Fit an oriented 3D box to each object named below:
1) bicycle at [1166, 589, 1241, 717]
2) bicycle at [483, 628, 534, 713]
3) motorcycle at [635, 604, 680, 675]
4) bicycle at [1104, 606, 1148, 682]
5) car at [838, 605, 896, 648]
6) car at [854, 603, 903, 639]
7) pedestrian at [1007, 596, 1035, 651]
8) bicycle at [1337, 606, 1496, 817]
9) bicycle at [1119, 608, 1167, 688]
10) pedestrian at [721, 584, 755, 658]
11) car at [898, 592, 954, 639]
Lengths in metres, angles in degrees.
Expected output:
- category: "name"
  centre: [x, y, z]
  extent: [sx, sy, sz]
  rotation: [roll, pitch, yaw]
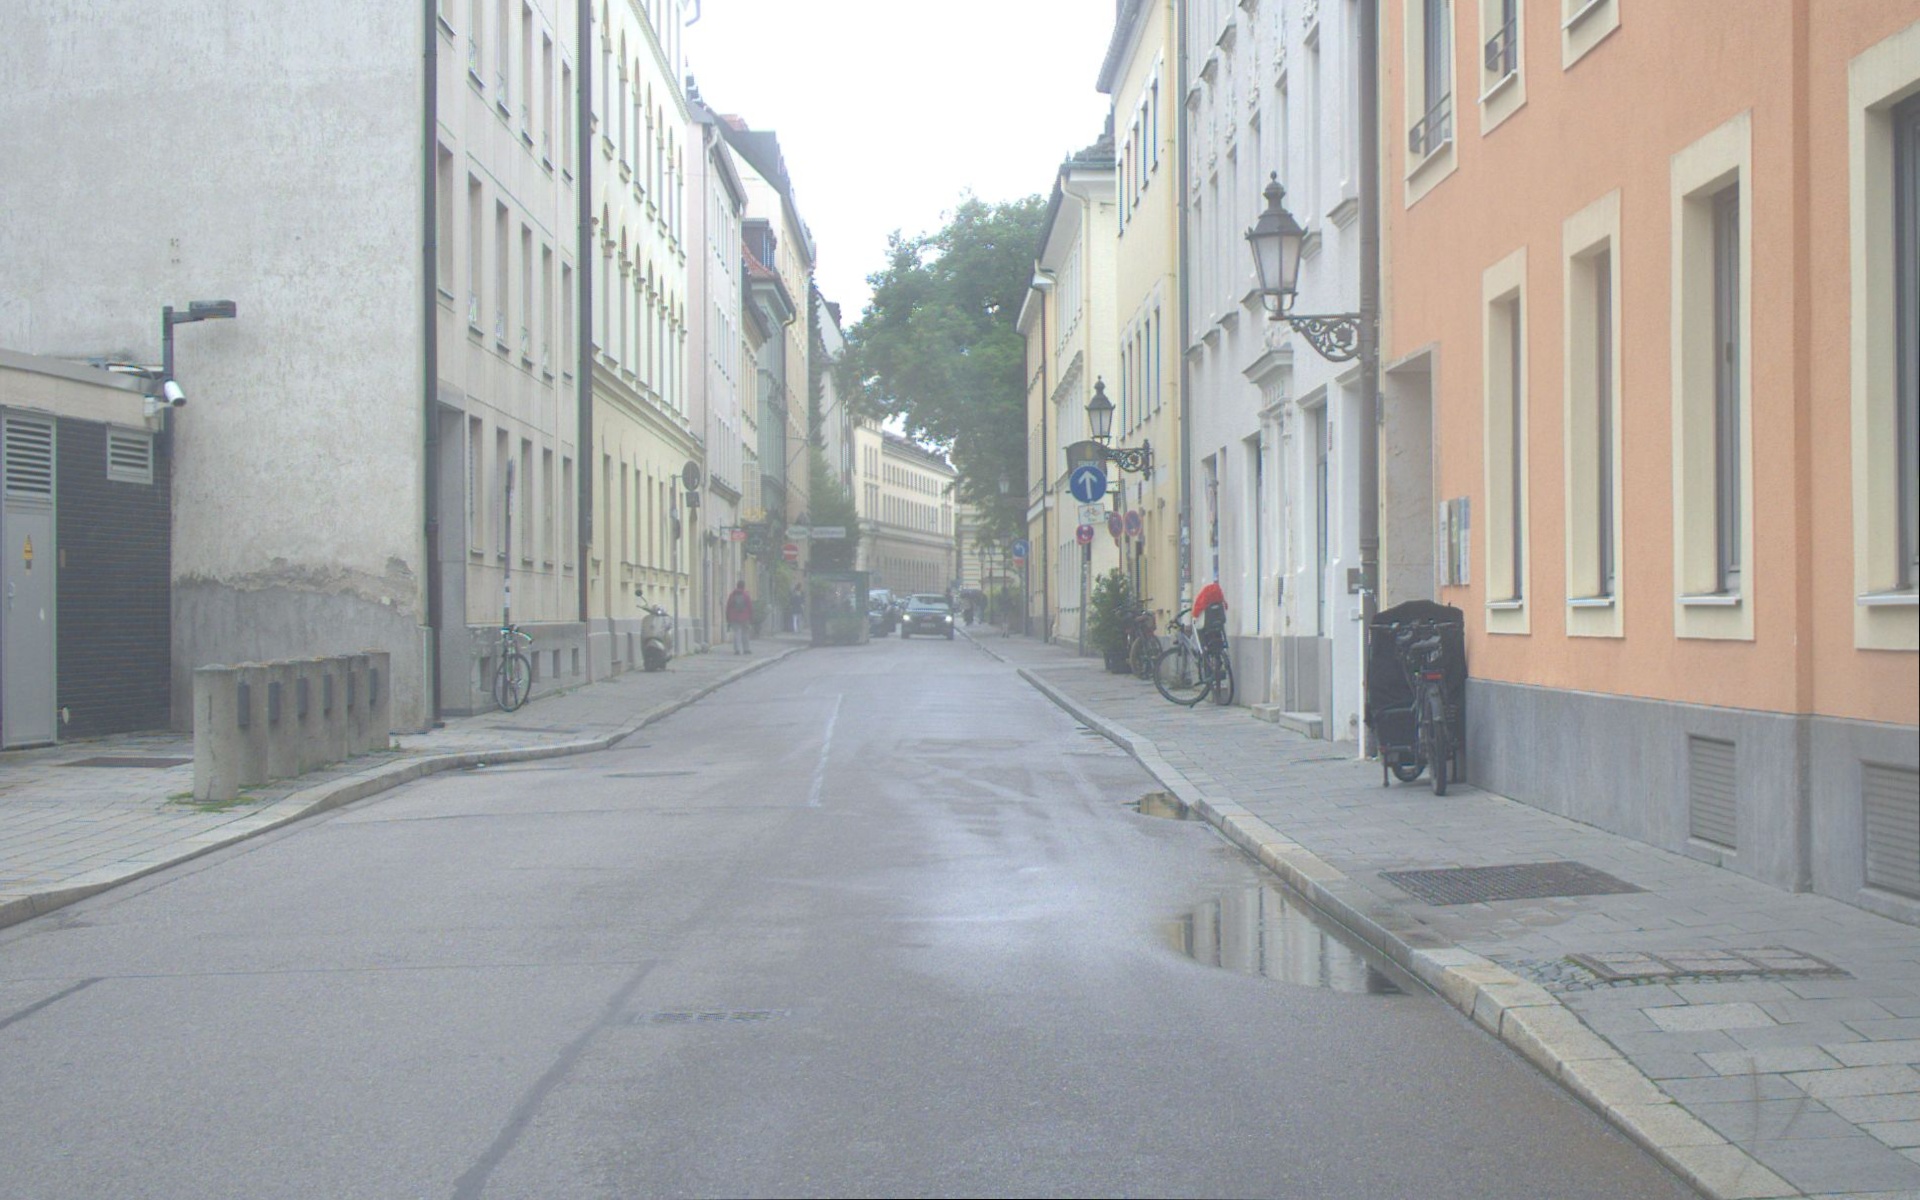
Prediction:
- category: "bicycle"
  centre: [2.775, 0.590, 39.383]
  extent: [0.713, 1.391, 2.121]
  rotation: [-2, 0, 2]
- category: "bicycle"
  centre: [-5.290, 0.818, 40.318]
  extent: [0.320, 0.940, 1.574]
  rotation: [3, 0, 1]
- category: "motorcycle"
  centre: [-5.145, 0.663, 58.526]
  extent: [0.602, 1.170, 1.708]
  rotation: [1, 0, 0]
- category: "bicycle"
  centre: [2.545, 0.667, 52.688]
  extent: [0.565, 1.133, 1.684]
  rotation: [-2, 0, 0]
- category: "car"
  centre: [-3.275, 0.929, 121.876]
  extent: [1.779, 1.461, 3.662]
  rotation: [1, 0, 2]
- category: "car"
  centre: [-3.332, 0.860, 141.900]
  extent: [1.779, 1.461, 3.541]
  rotation: [1, 0, 2]
- category: "pedestrian"
  centre: [2.013, 0.775, 113.293]
  extent: [0.880, 1.796, 1.046]
  rotation: [1, 0, 0]
- category: "bicycle"
  centre: [2.950, 0.692, 22.438]
  extent: [0.679, 1.236, 2.382]
  rotation: [-4, 0, 1]
- category: "bicycle"
  centre: [2.679, 0.690, 50.469]
  extent: [0.565, 1.133, 1.987]
  rotation: [-2, 0, 0]
- category: "pedestrian"
  centre: [-5.156, 0.485, 79.909]
  extent: [0.765, 1.702, 0.785]
  rotation: [0, 0, -3]
- category: "car"
  centre: [-1.177, 0.519, 117.567]
  extent: [1.812, 1.588, 4.000]
  rotation: [0, 0, -2]
